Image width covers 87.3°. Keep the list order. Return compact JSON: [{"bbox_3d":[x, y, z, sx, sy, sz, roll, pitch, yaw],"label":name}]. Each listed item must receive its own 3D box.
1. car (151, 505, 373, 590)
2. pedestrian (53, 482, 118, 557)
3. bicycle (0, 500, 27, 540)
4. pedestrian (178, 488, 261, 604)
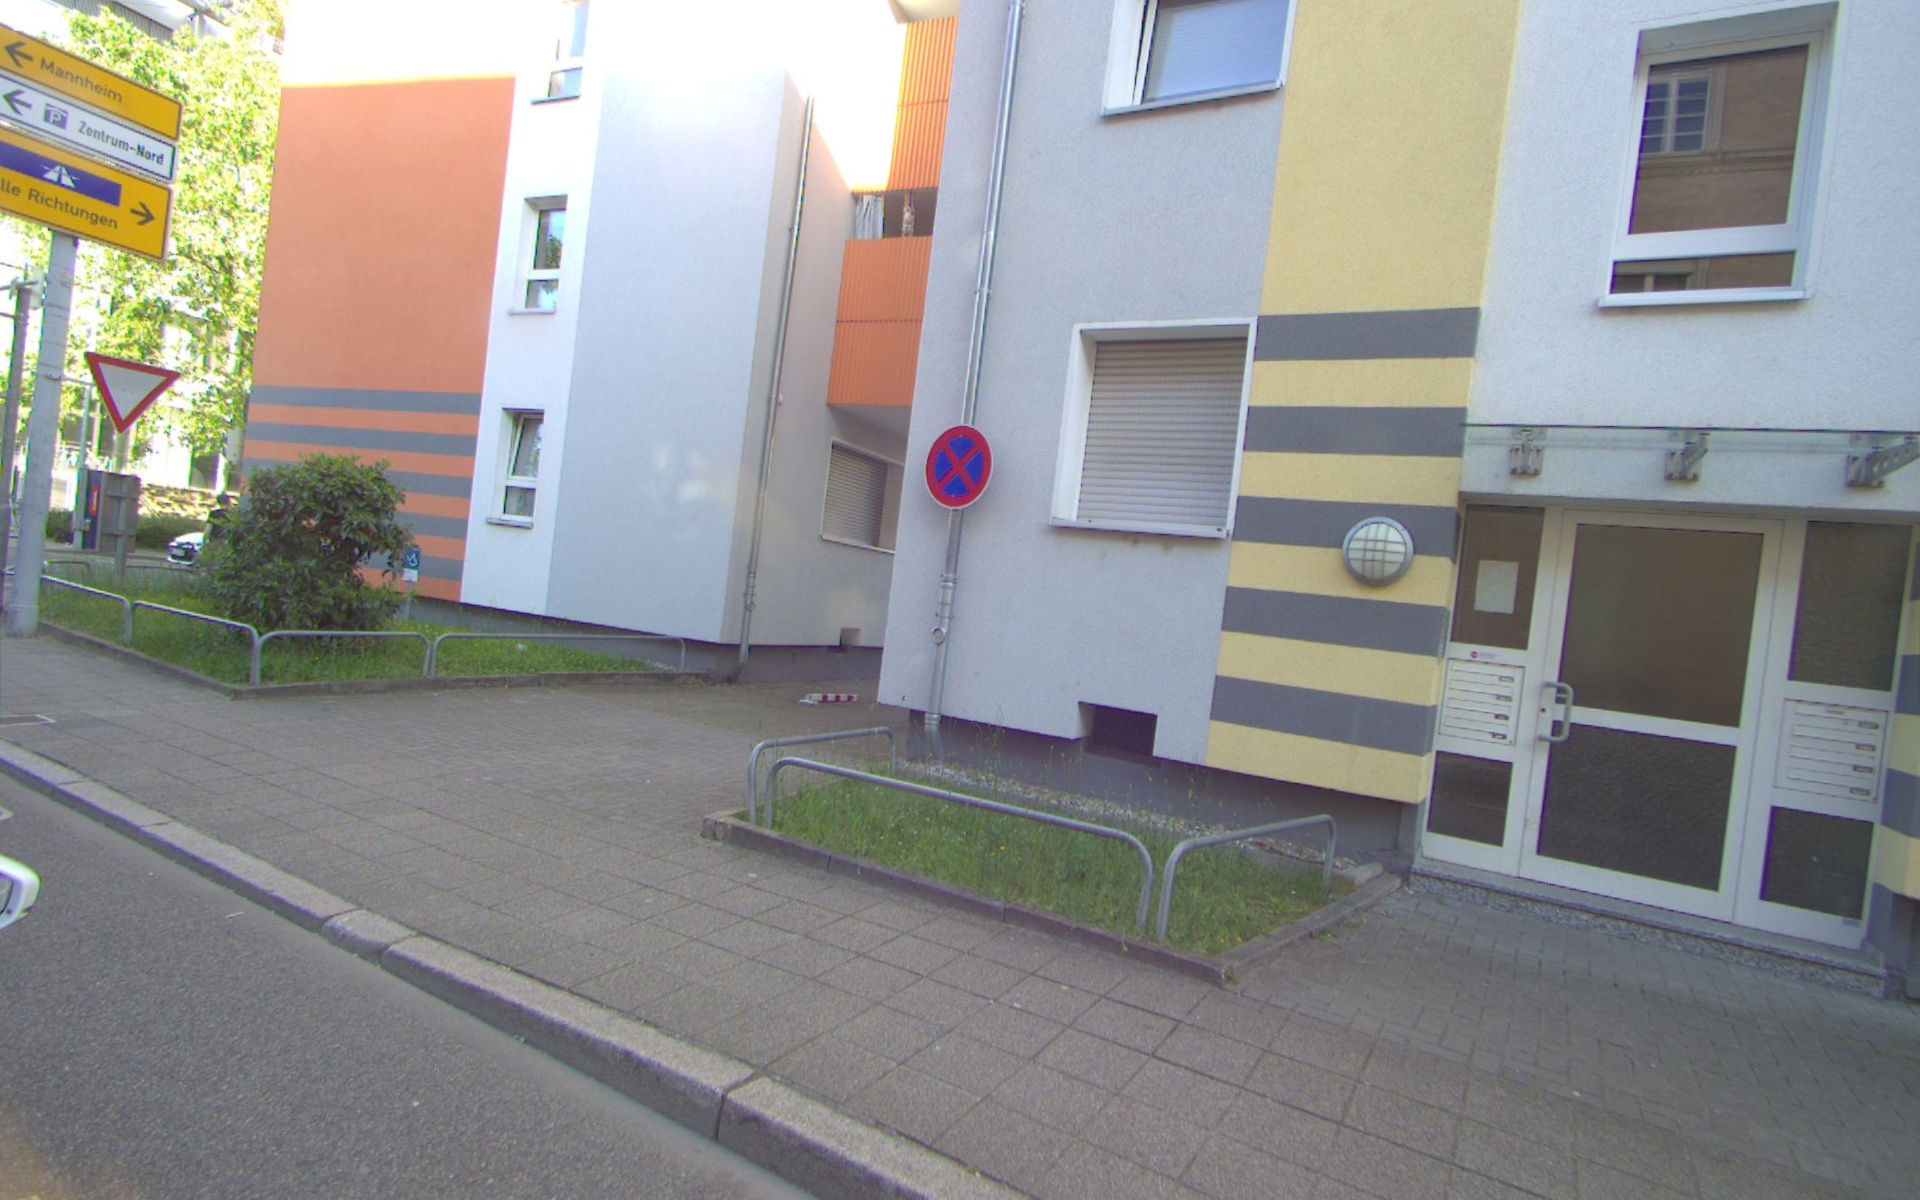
[{"bbox_3d":[-16.771,-1.213,24.426,1.687,1.437,4.091,7,-1,21],"label":"car"},{"bbox_3d":[-23.662,-2.175,27.240,0.748,1.837,0.917,7,-1,22],"label":"pedestrian"},{"bbox_3d":[-26.390,-2.234,27.385,1.409,1.021,0.379,7,1,-11],"label":"bicycle"},{"bbox_3d":[-12.539,-0.898,17.063,0.690,1.831,0.719,7,-1,-9],"label":"pedestrian"}]
